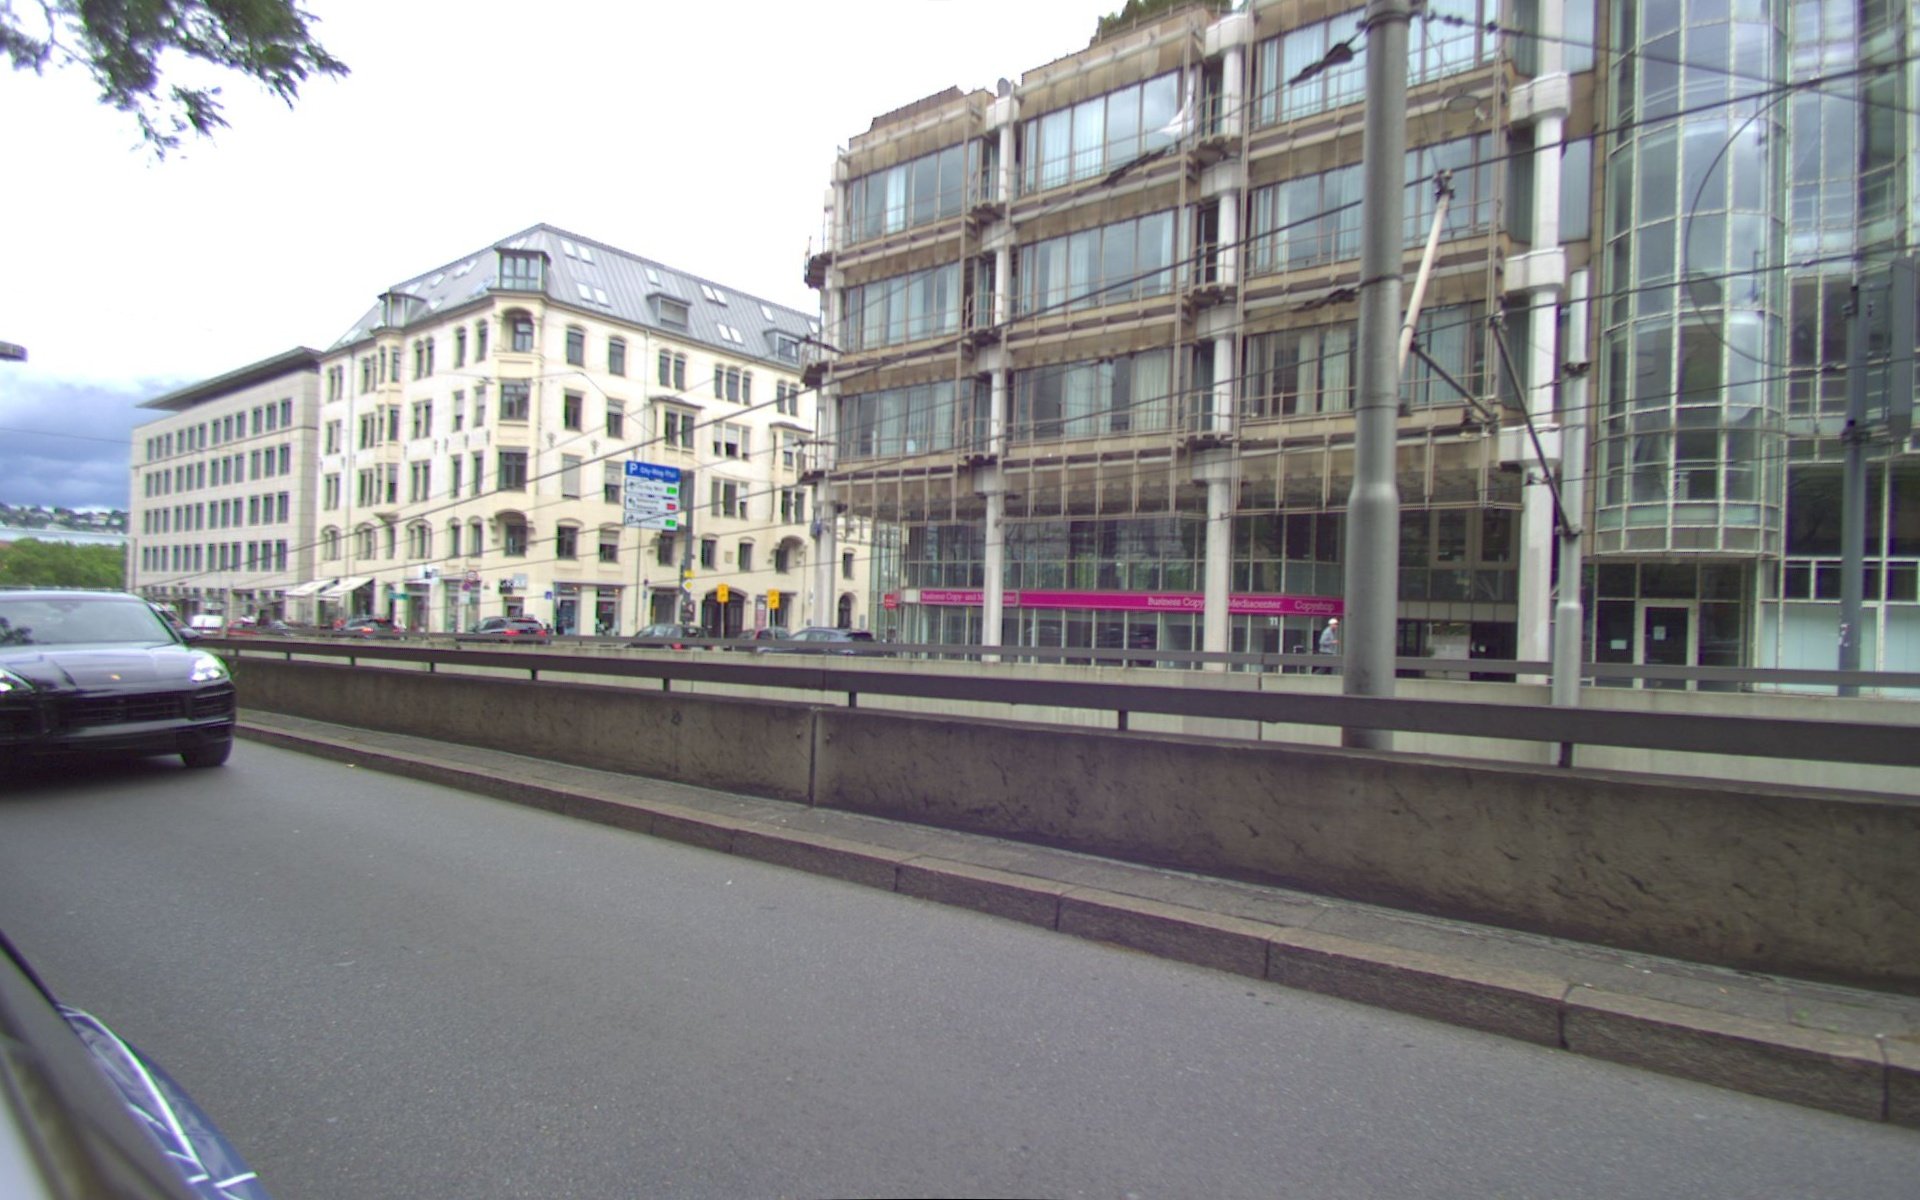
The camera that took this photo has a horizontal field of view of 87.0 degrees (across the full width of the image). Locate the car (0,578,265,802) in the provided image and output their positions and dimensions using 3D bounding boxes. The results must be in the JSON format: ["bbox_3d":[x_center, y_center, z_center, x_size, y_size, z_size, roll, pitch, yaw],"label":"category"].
[{"bbox_3d":[-8.890,0.729,9.882,5.346,1.688,2.062,-1,-1,39],"label":"car"}]

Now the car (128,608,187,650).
[{"bbox_3d":[-60.232,2.129,75.907,5.464,3.083,2.341,0,-1,39],"label":"car"}]

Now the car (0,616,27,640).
[{"bbox_3d":[-82.788,2.386,87.906,4.785,2.029,1.974,0,-1,39],"label":"car"}]

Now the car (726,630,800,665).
[{"bbox_3d":[-10.002,2.396,51.506,1.647,1.674,3.556,-1,-2,35],"label":"car"}]

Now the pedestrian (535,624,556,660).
[{"bbox_3d":[-20.527,2.074,50.149,0.684,1.724,0.705,-1,-2,28],"label":"pedestrian"}]

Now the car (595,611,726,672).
[{"bbox_3d":[-10.466,1.402,35.203,4.784,1.978,1.974,-1,-1,38],"label":"car"}]

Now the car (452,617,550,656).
[{"bbox_3d":[-19.375,1.506,42.612,4.636,1.572,1.796,-1,-2,38],"label":"car"}]

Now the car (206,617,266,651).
[{"bbox_3d":[-45.919,2.123,64.158,4.785,2.029,1.974,0,-1,39],"label":"car"}]

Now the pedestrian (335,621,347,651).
[{"bbox_3d":[-37.321,2.190,61.017,0.502,1.793,0.579,1,-2,-27],"label":"pedestrian"}]

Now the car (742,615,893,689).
[{"bbox_3d":[-4.253,1.452,29.847,4.374,1.929,1.974,1,0,39],"label":"car"}]

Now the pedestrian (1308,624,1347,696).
[{"bbox_3d":[9.454,1.523,26.021,0.739,1.806,0.723,-1,-1,40],"label":"pedestrian"}]

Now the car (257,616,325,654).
[{"bbox_3d":[-38.794,1.982,58.629,4.785,2.029,1.974,0,-1,39],"label":"car"}]

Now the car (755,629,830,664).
[{"bbox_3d":[-8.257,2.281,50.115,1.647,1.674,3.556,-1,-2,35],"label":"car"}]

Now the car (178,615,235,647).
[{"bbox_3d":[-50.786,2.055,68.197,4.785,2.029,1.974,0,-1,39],"label":"car"}]

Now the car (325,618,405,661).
[{"bbox_3d":[-30.052,1.943,51.050,4.785,2.029,1.974,0,-1,39],"label":"car"}]

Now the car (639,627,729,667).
[{"bbox_3d":[-12.231,2.082,44.957,1.647,1.674,3.605,-1,-2,36],"label":"car"}]

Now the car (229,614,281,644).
[{"bbox_3d":[-50.073,2.072,71.888,3.996,2.029,1.974,-1,-3,39],"label":"car"}]
